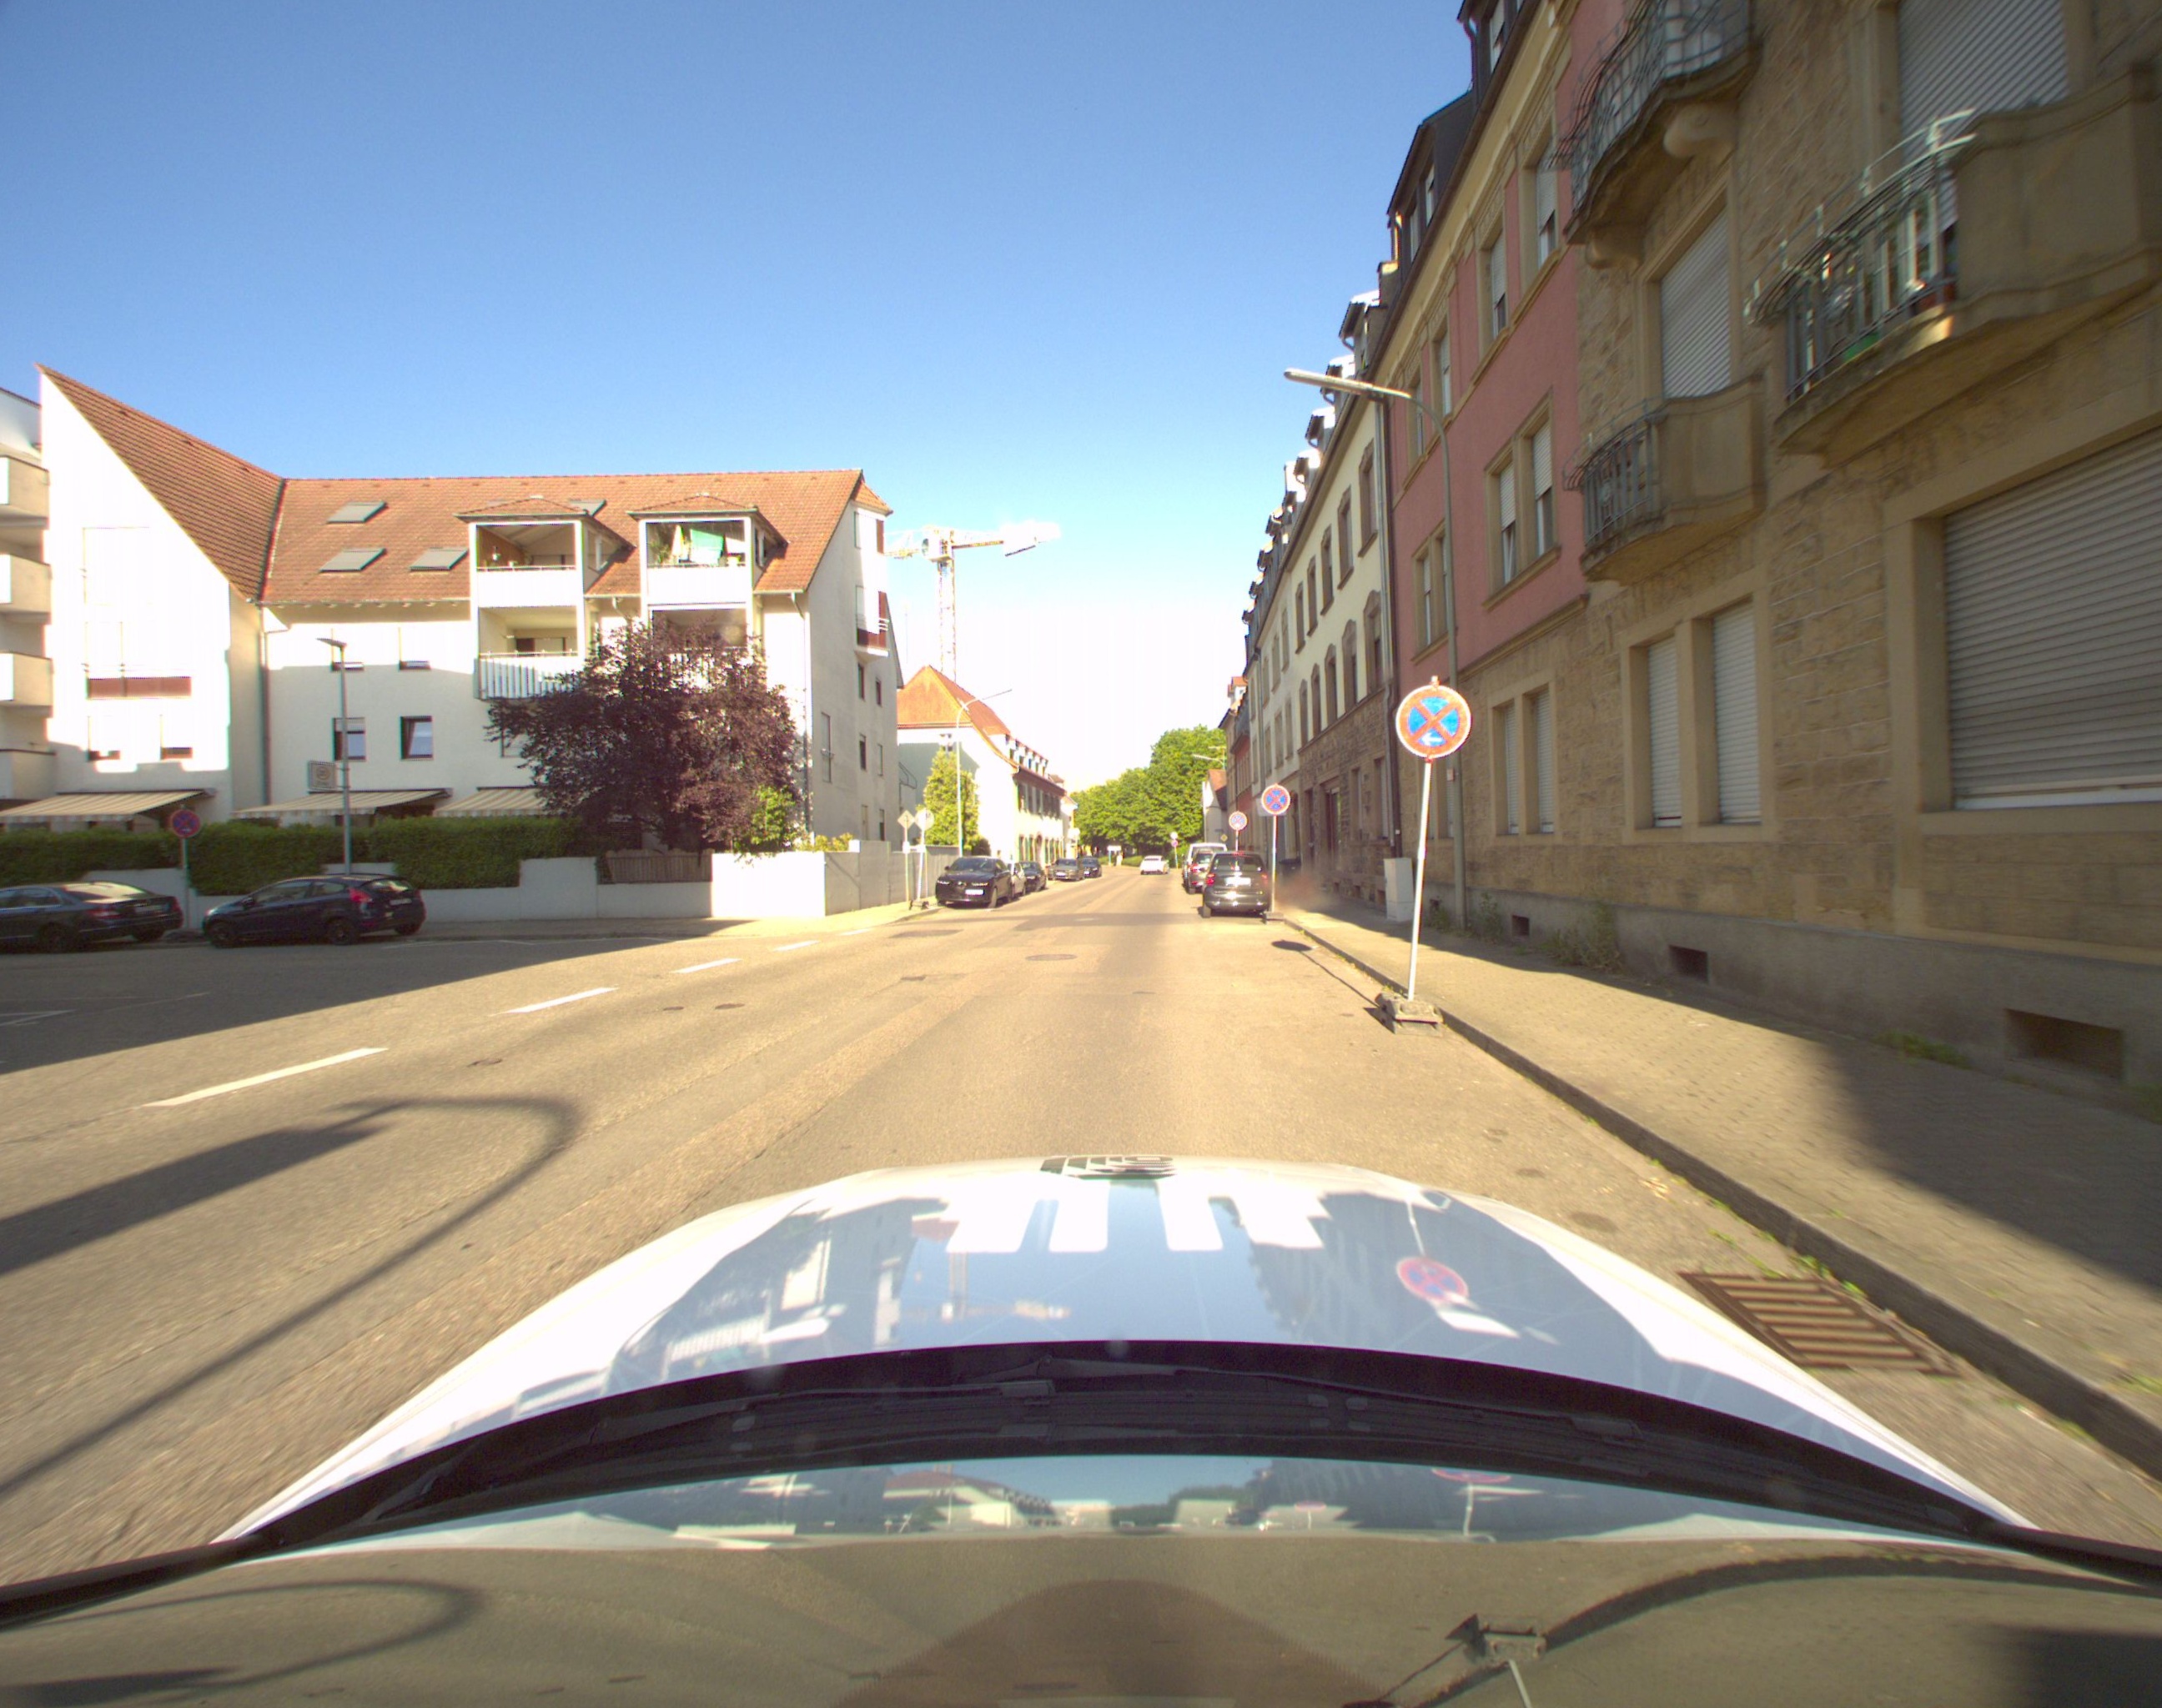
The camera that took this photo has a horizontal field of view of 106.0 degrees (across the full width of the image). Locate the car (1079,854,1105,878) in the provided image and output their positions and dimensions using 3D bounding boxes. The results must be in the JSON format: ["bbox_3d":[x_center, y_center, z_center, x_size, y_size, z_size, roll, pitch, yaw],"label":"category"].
[{"bbox_3d":[0.852,0.878,61.208,1.623,1.631,3.178,-2,0,4],"label":"car"}]

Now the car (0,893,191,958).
[{"bbox_3d":[-22.025,1.538,17.622,3.660,1.181,1.678,-2,0,1],"label":"car"}]

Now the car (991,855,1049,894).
[{"bbox_3d":[-2.780,0.931,37.973,2.083,1.631,3.826,-2,0,4],"label":"car"}]

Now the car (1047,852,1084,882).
[{"bbox_3d":[-0.953,0.807,52.240,1.902,1.760,4.133,-2,0,4],"label":"car"}]

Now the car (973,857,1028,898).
[{"bbox_3d":[-3.121,0.878,32.072,1.546,1.458,3.065,-2,0,4],"label":"car"}]

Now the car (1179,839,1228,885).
[{"bbox_3d":[5.396,0.332,36.276,1.832,1.906,4.005,-2,0,5],"label":"car"}]

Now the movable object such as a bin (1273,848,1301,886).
[{"bbox_3d":[7.715,0.472,30.549,0.867,1.377,0.686,-2,0,5],"label":"movable object such as a bin"}]

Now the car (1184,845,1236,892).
[{"bbox_3d":[4.960,0.515,31.522,1.808,1.631,4.009,-2,0,8],"label":"car"}]

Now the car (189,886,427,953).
[{"bbox_3d":[-16.436,1.366,17.434,3.527,1.181,1.617,-2,0,1],"label":"car"}]

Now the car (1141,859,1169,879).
[{"bbox_3d":[5.628,1.143,62.171,1.985,1.466,4.003,-1,-1,3],"label":"car"}]

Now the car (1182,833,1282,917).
[{"bbox_3d":[3.598,0.459,20.061,2.002,1.853,4.005,0,0,4],"label":"car"}]
